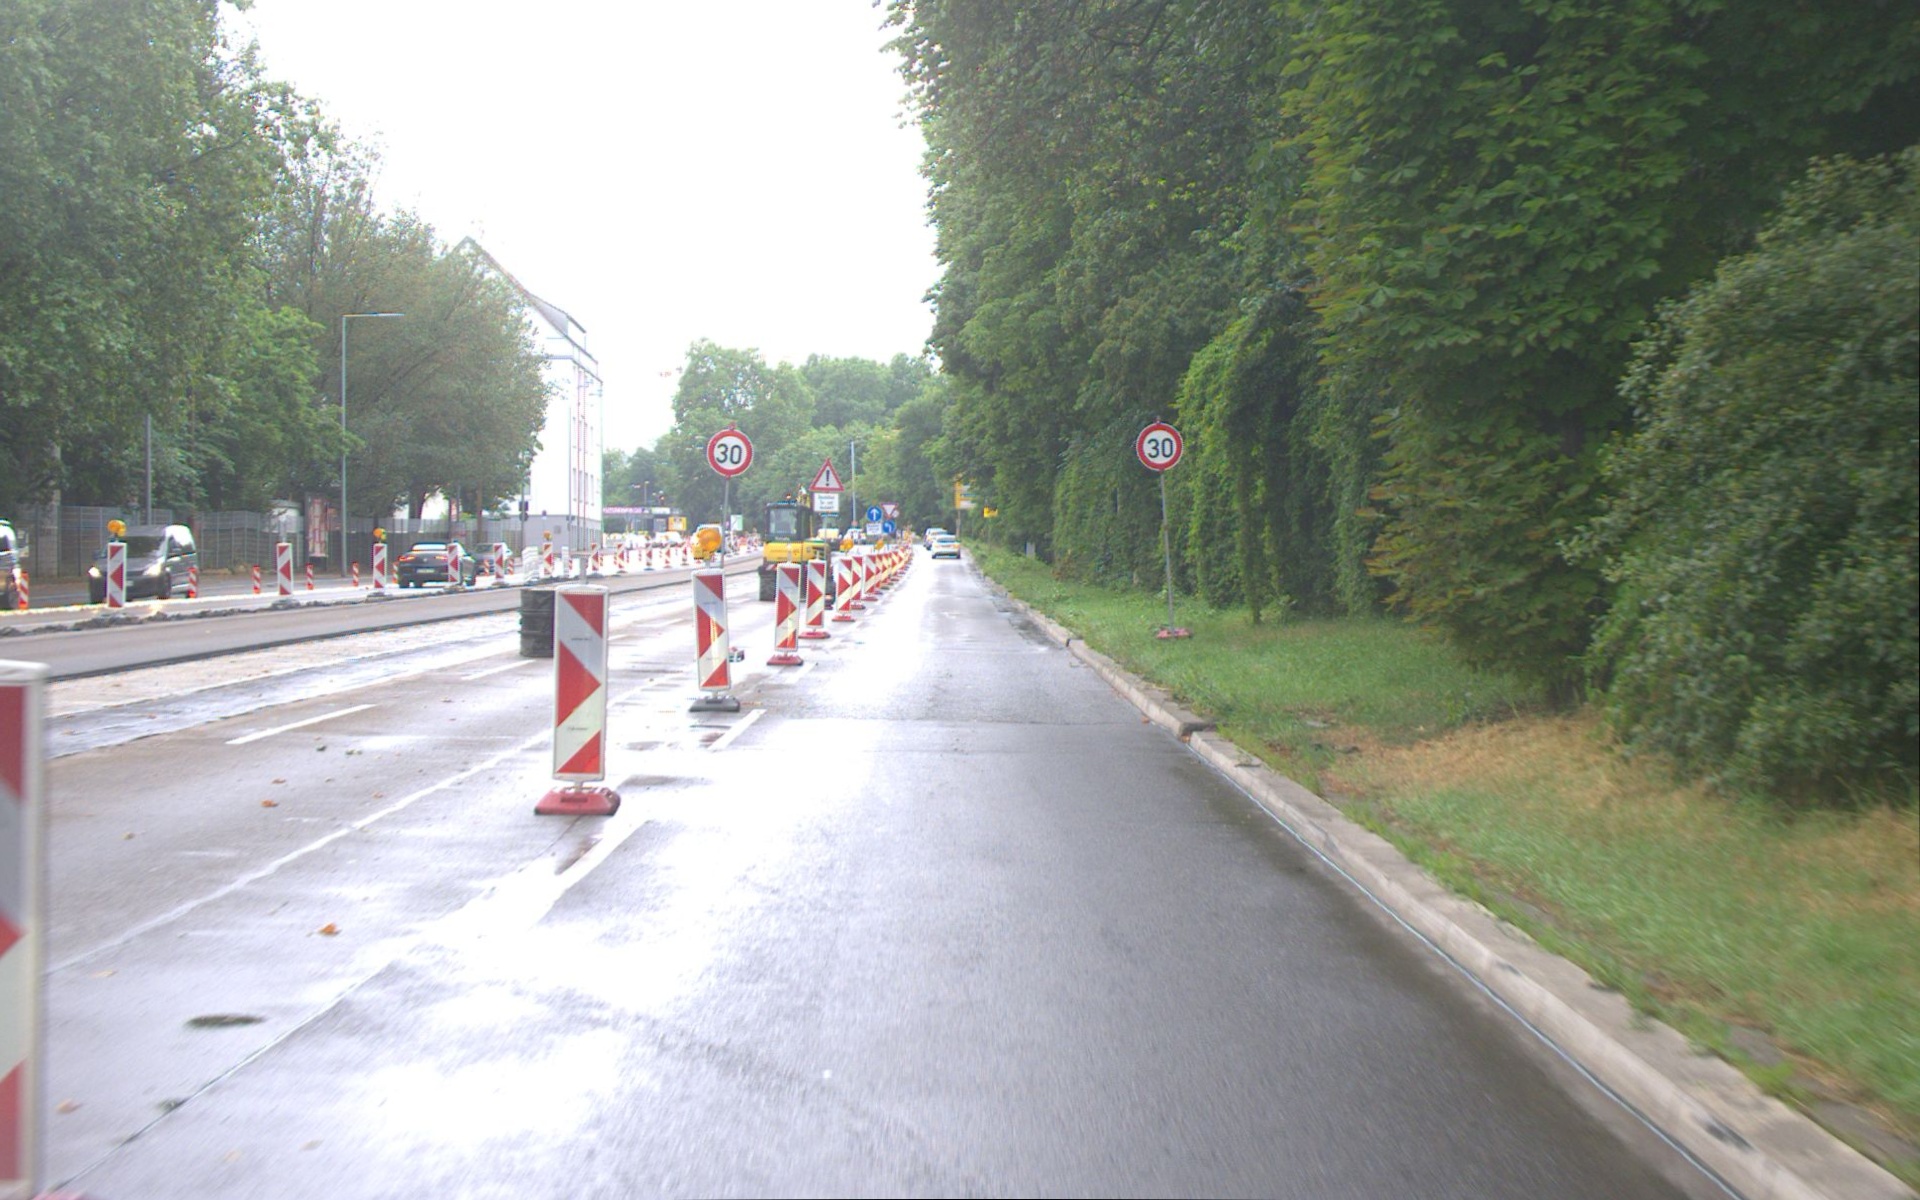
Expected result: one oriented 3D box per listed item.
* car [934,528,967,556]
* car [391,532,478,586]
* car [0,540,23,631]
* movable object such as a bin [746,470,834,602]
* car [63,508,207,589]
[{"bbox_3d":[-0.568,-3.607,214.649,1.993,1.667,4.000,1,1,0],"label":"car"},{"bbox_3d":[-15.619,-1.229,102.431,1.993,1.514,4.000,1,1,-1],"label":"car"},{"bbox_3d":[-21.282,-0.311,71.912,1.993,1.912,5.365,1,1,-1],"label":"car"},{"bbox_3d":[-4.468,-1.682,91.074,1.993,3.356,5.982,1,1,0],"label":"movable object such as a bin"},{"bbox_3d":[-19.190,-1.196,80.179,1.993,1.774,4.954,1,1,2],"label":"car"}]
